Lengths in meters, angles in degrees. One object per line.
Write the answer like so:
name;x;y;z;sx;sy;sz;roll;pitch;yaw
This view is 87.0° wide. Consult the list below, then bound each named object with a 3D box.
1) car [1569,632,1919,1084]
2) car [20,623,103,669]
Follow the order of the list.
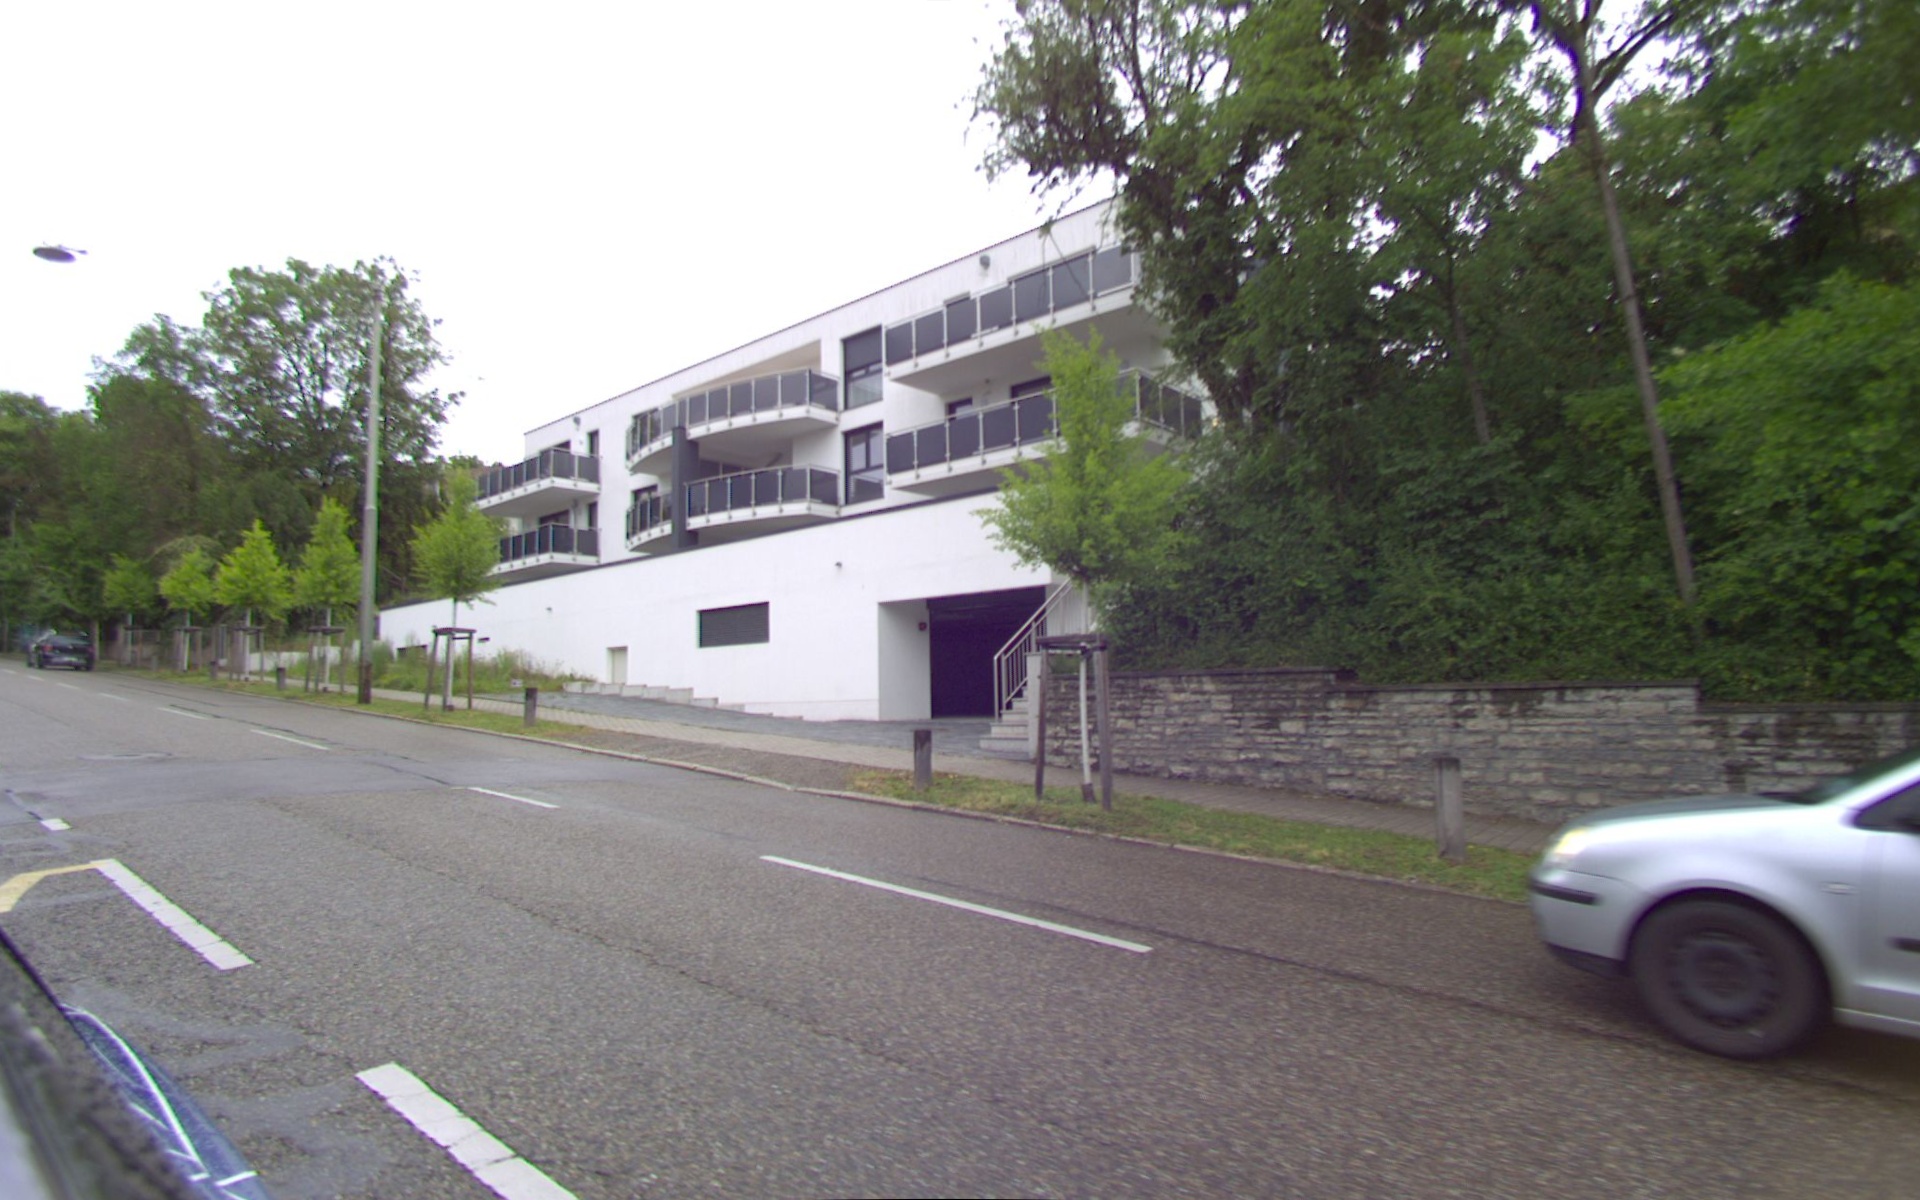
car;4.453;0.923;3.481;3.799;1.497;1.746;-2;-7;41
car;-34.473;1.749;38.818;3.915;1.561;1.727;0;-6;40
